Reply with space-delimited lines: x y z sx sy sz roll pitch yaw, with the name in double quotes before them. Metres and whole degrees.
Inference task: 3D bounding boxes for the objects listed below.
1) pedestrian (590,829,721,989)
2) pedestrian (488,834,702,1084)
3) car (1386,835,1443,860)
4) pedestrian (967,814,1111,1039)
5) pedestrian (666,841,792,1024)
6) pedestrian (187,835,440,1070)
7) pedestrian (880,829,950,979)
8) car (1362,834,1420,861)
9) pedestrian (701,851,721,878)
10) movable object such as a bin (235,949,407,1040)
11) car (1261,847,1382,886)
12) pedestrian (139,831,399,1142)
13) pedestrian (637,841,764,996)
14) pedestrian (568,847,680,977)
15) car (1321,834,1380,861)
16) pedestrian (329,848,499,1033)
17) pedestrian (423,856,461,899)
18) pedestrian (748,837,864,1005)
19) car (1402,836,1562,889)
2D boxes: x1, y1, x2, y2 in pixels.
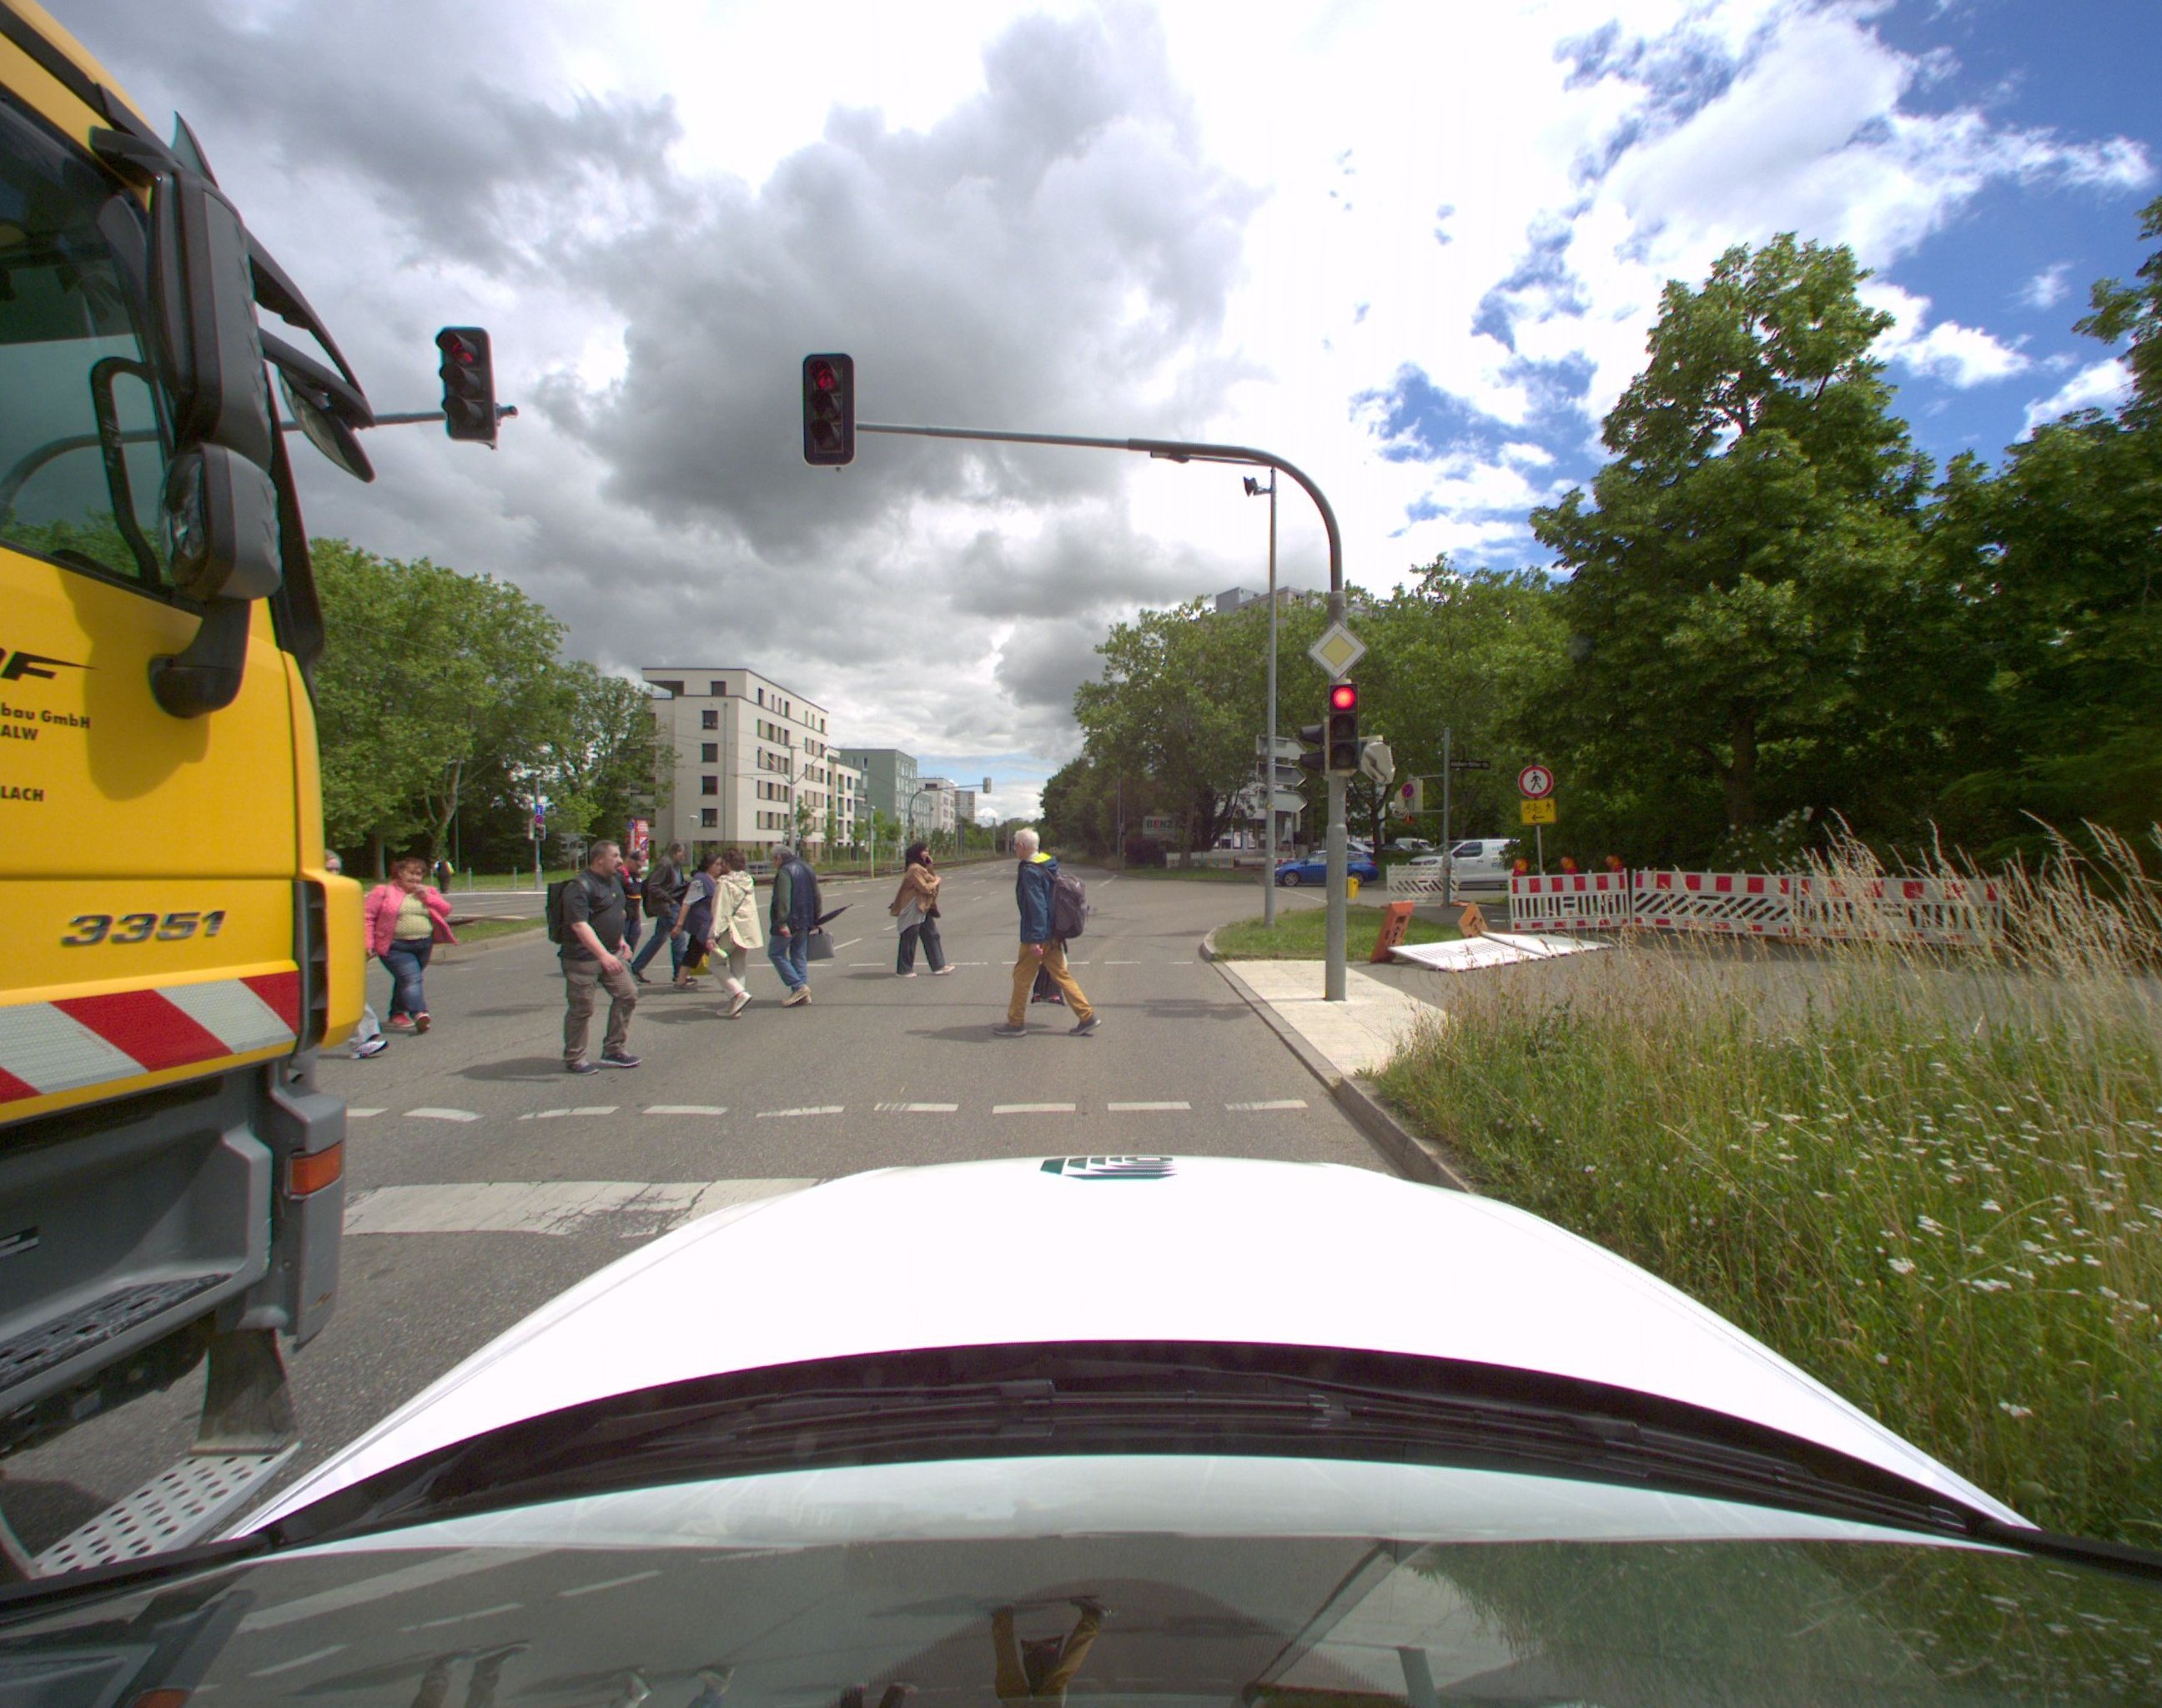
"pedestrian" -4.945 0.609 9.536 0.998 1.773 0.930 -1 0 2
"pedestrian" -3.435 0.692 5.840 0.954 1.648 0.882 -1 0 6
"car" 27.315 -0.503 66.868 2.006 2.013 3.962 -1 0 -29
"pedestrian" -0.330 0.575 6.985 1.003 1.774 0.952 0 0 12
"pedestrian" -3.312 0.706 7.716 0.818 1.640 0.735 -1 0 6
"pedestrian" -5.774 0.690 6.200 1.017 1.648 0.930 -1 0 2
"pedestrian" -2.015 0.574 9.938 0.782 1.742 0.825 -1 0 -11
"car" 24.600 -0.499 64.734 2.006 2.013 3.962 -1 0 -29
"pedestrian" -21.331 0.595 46.949 0.827 1.516 0.636 -1 0 1
"movable object such as a bin" -6.749 1.234 7.274 0.792 0.662 0.778 -1 0 2
"car" 9.853 0.492 33.601 4.459 1.486 1.989 -1 0 1
"pedestrian" -4.773 0.714 4.857 0.824 1.671 0.729 -1 -1 -15
"pedestrian" -4.157 0.671 8.966 0.908 1.607 0.930 -1 0 4
"pedestrian" -5.843 0.710 10.461 0.889 1.596 0.908 -1 0 2
"car" 20.568 -0.491 62.254 2.006 2.013 3.962 -1 0 -29
"pedestrian" -5.905 0.732 7.254 0.877 1.554 0.747 -1 0 2
"pedestrian" -26.157 0.947 33.342 0.914 1.676 1.108 0 0 44
"pedestrian" -2.810 0.655 8.383 0.864 1.634 0.767 0 0 7
"car" 14.915 0.297 30.459 5.063 1.874 1.947 -1 0 -2
